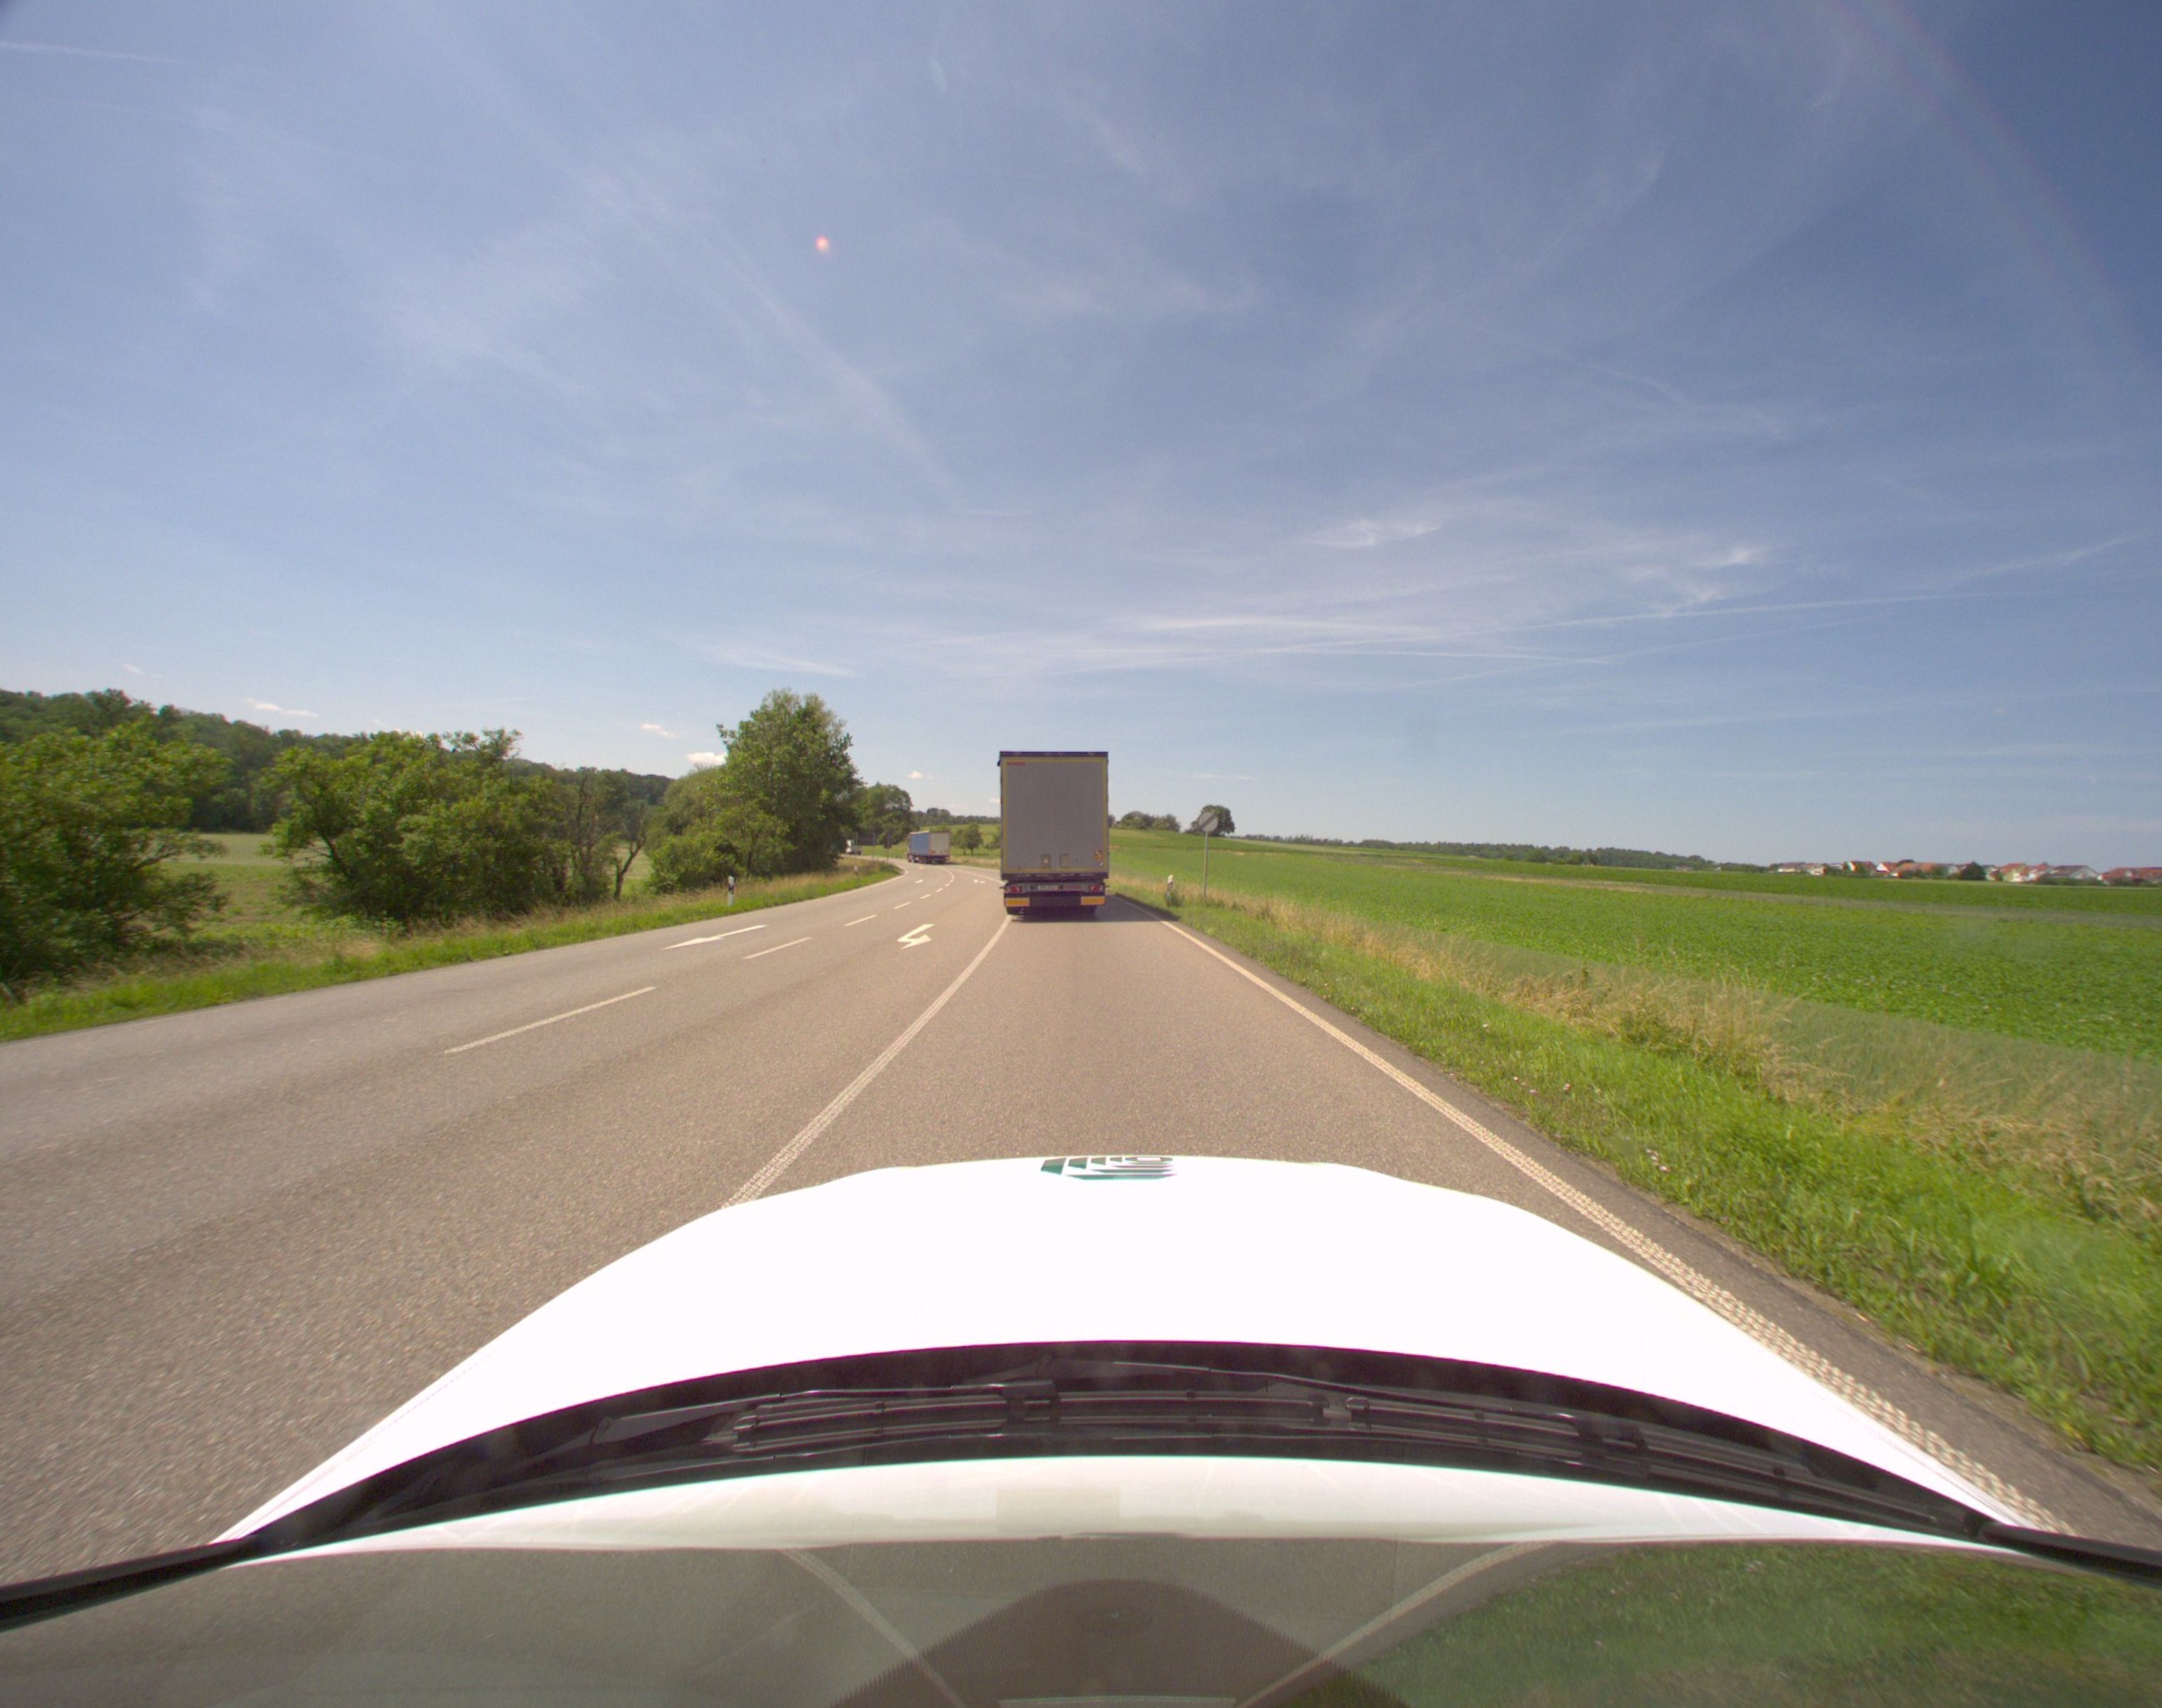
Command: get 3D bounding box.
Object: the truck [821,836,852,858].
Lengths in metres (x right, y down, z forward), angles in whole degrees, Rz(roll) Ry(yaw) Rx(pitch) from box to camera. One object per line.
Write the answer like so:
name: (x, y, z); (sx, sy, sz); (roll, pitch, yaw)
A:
truck: (-52.959, -1.496, 175.854); (3.549, 4.241, 13.281); (3, -2, -29)

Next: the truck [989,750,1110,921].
truck: (-1.029, -0.422, 23.756); (2.802, 3.946, 9.577); (0, 0, -4)

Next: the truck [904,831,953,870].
truck: (-19.905, -0.461, 105.037); (2.972, 4.584, 16.197); (2, 0, -22)

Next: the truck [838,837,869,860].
truck: (-45.297, -1.015, 161.872); (3.655, 4.130, 12.986); (3, -2, -25)
